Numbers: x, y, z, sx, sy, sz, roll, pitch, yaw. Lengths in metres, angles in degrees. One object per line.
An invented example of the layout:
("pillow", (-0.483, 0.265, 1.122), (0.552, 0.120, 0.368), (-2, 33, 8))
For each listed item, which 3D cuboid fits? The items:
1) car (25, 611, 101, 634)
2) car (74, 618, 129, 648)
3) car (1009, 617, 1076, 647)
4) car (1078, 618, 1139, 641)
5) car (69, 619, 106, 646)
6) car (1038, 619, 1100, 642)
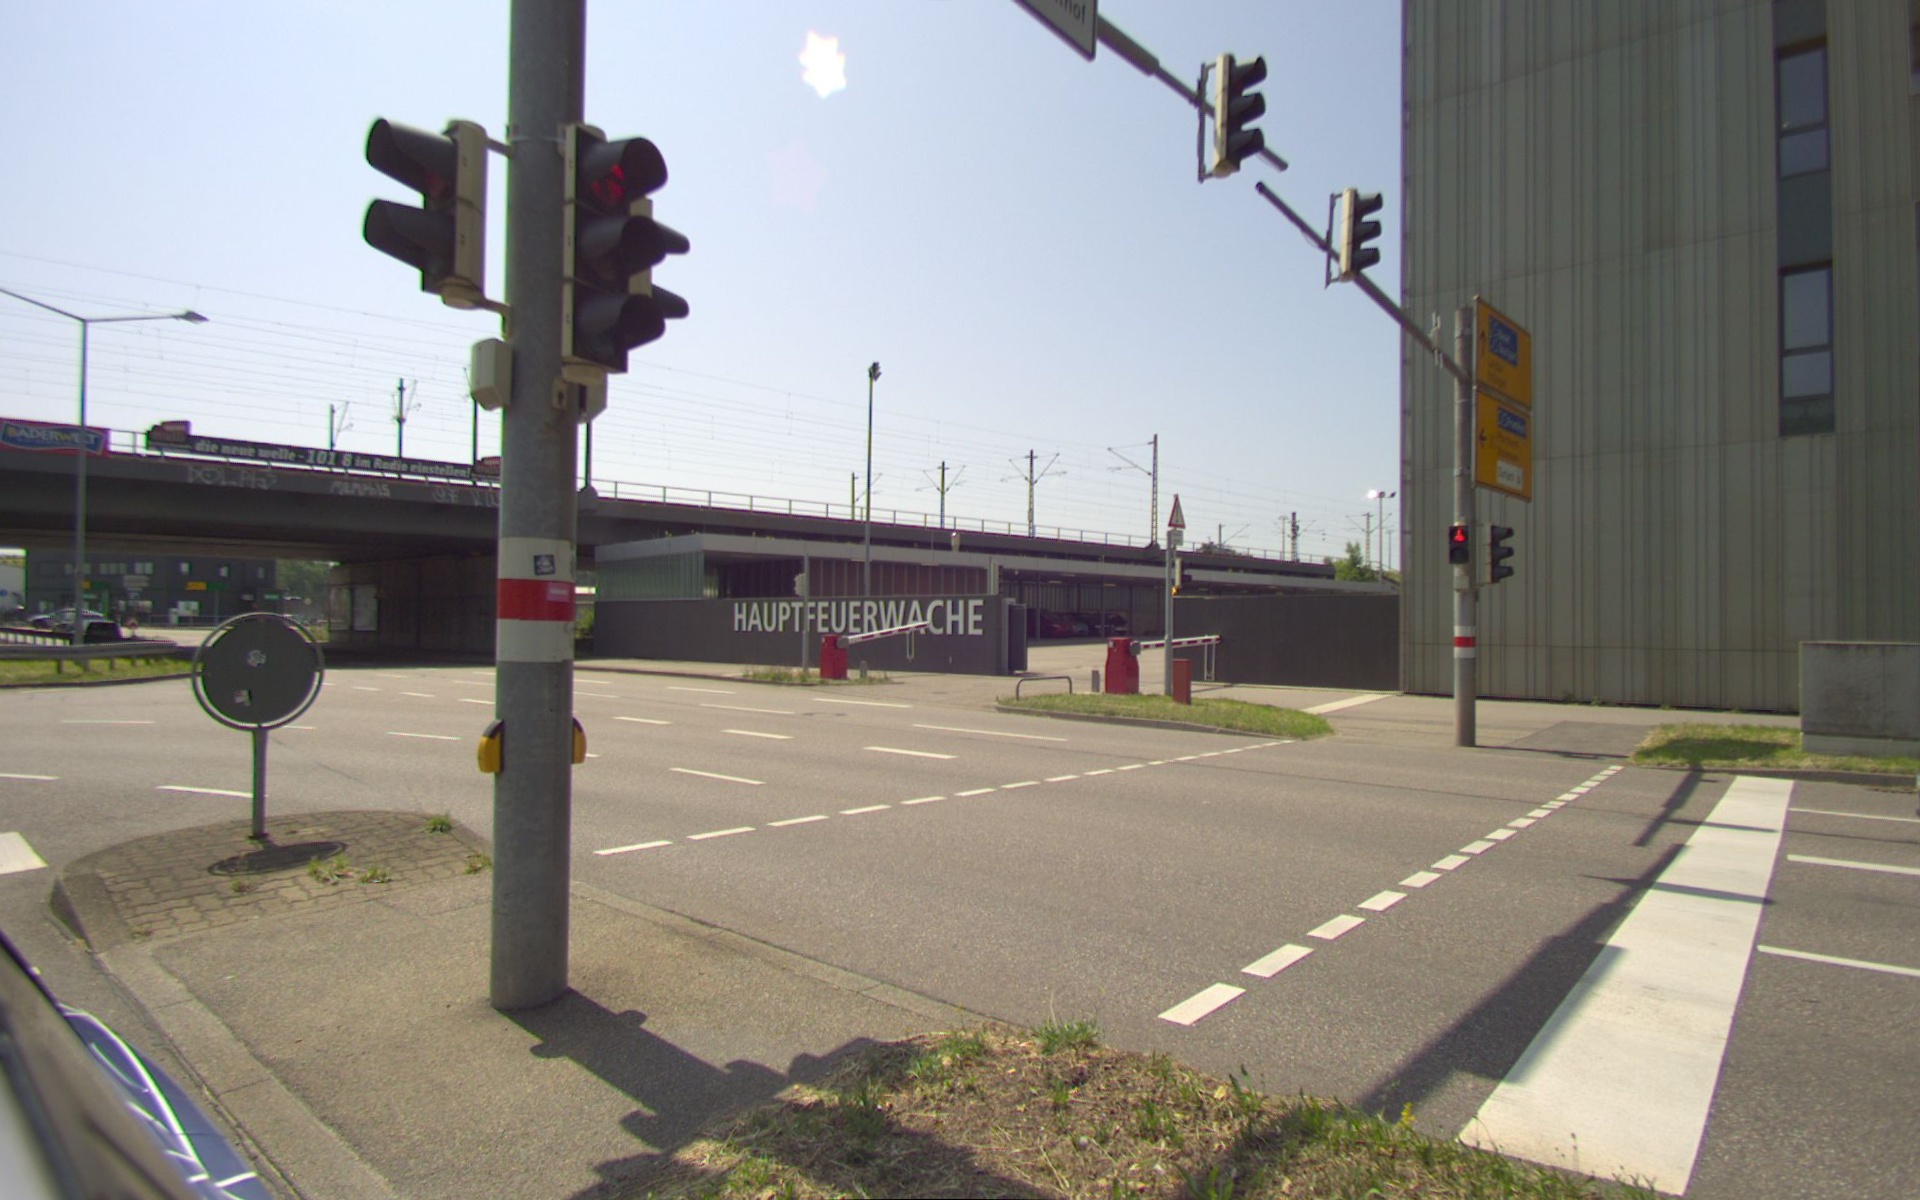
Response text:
("car", (-66.925, 1.694, 75.621), (3.932, 1.697, 2.006), (1, -2, -32))
("car", (-43.679, 1.677, 51.455), (3.372, 1.461, 1.688), (-1, -2, 42))
("car", (4.776, 1.827, 58.618), (1.609, 1.684, 3.791), (1, -2, -43))
("car", (9.103, 1.810, 62.307), (1.609, 1.337, 3.472), (1, -2, -43))
("car", (-53.712, 1.969, 62.324), (1.685, 1.556, 3.378), (1, -1, -41))
("car", (6.487, 1.835, 60.350), (1.609, 1.337, 3.472), (1, -2, -43))
